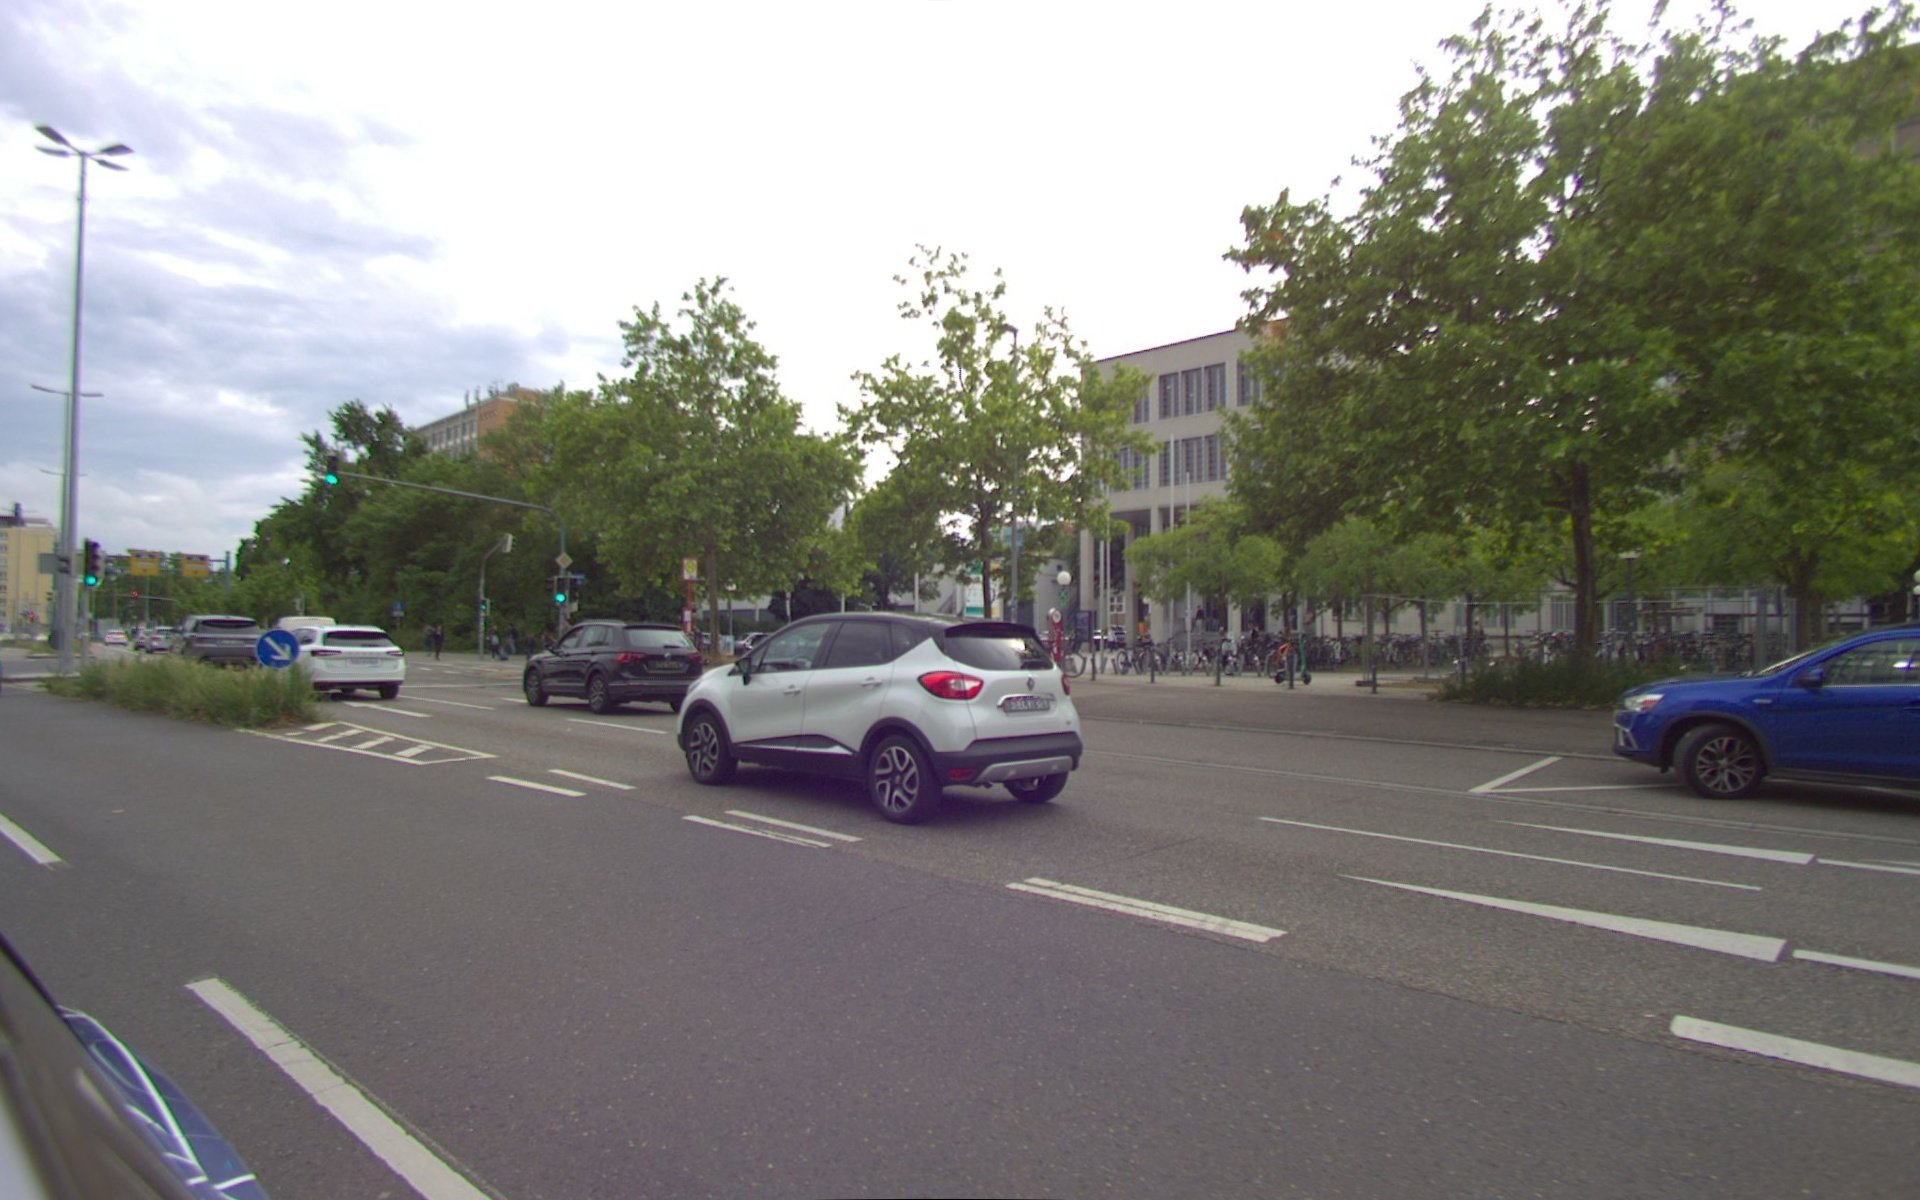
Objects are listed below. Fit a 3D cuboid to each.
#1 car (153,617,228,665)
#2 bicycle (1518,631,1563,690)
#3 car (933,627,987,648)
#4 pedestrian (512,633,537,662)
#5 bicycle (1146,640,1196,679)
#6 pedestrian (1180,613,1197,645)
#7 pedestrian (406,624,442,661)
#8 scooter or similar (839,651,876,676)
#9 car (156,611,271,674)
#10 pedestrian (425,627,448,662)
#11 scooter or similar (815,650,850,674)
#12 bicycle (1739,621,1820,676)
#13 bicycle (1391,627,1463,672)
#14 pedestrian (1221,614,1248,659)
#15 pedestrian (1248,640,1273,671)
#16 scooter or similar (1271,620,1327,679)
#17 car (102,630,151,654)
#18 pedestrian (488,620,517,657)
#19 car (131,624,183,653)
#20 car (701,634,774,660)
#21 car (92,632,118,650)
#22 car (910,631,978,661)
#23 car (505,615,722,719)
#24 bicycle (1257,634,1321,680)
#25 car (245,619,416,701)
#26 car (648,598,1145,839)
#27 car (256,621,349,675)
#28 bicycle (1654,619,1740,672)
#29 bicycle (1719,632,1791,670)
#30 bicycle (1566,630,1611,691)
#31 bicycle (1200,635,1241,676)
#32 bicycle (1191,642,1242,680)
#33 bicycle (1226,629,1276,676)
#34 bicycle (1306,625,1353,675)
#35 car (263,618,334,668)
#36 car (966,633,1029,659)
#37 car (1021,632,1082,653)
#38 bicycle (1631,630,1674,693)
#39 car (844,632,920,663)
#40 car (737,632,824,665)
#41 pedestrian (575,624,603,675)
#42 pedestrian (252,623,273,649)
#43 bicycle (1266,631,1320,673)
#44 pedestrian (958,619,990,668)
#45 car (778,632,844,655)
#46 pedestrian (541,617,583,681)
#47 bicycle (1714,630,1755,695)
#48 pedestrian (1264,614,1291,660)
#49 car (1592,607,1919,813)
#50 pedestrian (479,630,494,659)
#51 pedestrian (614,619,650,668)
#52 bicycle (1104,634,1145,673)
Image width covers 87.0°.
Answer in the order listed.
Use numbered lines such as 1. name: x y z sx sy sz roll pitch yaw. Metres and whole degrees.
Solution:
1. car: -33.711 1.789 44.314 4.001 2.029 1.971 -2 -3 44
2. bicycle: 16.555 1.690 28.834 0.721 1.606 2.375 -2 -3 40
3. car: 0.027 2.859 77.387 3.941 1.552 2.001 2 -3 -45
4. pedestrian: -22.380 2.420 52.015 0.991 1.439 0.697 -1 -1 16
5. bicycle: 7.658 2.143 36.651 0.721 1.364 2.459 -2 -3 40
6. pedestrian: 14.756 1.873 65.345 0.943 2.029 0.788 -1 -3 27
7. pedestrian: -29.504 2.337 55.764 1.344 2.029 1.174 -2 -1 24
8. scooter or similar: -3.101 1.913 30.557 0.402 0.699 1.290 0 -1 -43
9. car: -22.089 1.233 29.865 4.949 1.700 1.971 -2 -2 44
10. pedestrian: -26.688 2.271 51.611 0.583 1.707 0.653 16 -13 -42
11. scooter or similar: -4.008 1.949 31.888 0.402 0.699 1.290 0 -1 -43
12. bicycle: 24.300 1.422 29.991 2.621 1.571 0.925 1 -2 -29
13. bicycle: 16.599 1.742 35.974 2.621 1.571 0.925 1 -2 -29
14. pedestrian: 12.539 1.668 46.210 0.781 2.029 0.992 1 -2 -18
15. pedestrian: 14.456 2.654 48.620 0.883 1.429 0.797 2 -3 -39
16. scooter or similar: 7.426 1.068 22.128 0.566 1.253 1.557 -2 -3 43
17. car: -55.059 2.744 66.844 4.275 1.541 1.971 -2 -3 44
18. pedestrian: -25.828 2.179 57.105 1.089 2.029 1.037 -1 -1 13
19. car: -45.834 2.190 57.766 1.934 1.596 4.259 2 -3 -43
20. car: -13.721 2.874 62.441 2.001 1.402 3.942 -2 -1 44
21. car: -89.648 4.278 106.092 1.866 1.786 4.003 0 -1 -44
22. car: -0.926 2.725 60.083 1.853 1.696 3.944 -2 -3 42
23. car: -6.527 1.172 18.819 4.469 1.707 1.971 -2 -3 44
24. bicycle: 8.992 1.534 27.596 0.721 1.183 2.718 -2 -3 40
25. car: -13.264 1.189 21.188 4.912 1.476 1.882 -2 -1 44
26. car: -0.722 0.861 8.750 4.181 1.559 1.971 -2 -4 44
27. car: -21.912 1.576 33.683 4.001 1.702 1.679 -2 -3 44
28. bicycle: 22.806 1.403 31.295 3.035 1.571 0.925 1 -2 -29
29. bicycle: 26.886 1.718 34.217 2.621 1.214 0.925 2 -3 -29
30. bicycle: 17.494 1.661 28.134 0.721 1.606 2.375 -2 -3 40
31. bicycle: 7.630 1.610 29.611 0.718 1.153 2.310 -1 -2 26
32. bicycle: 8.953 2.097 35.274 0.721 1.279 2.509 -2 -3 40
33. bicycle: 10.072 1.798 34.965 0.920 1.571 2.637 -1 -3 33
34. bicycle: 12.124 1.625 33.164 0.920 1.571 2.424 -1 -3 33
35. car: -26.696 1.691 40.776 1.750 1.862 4.494 0 -1 -41
36. car: 2.379 2.868 63.552 1.889 1.565 3.942 -2 -3 44
37. car: 6.087 2.827 66.963 2.008 1.371 3.942 -2 -3 44
38. bicycle: 18.490 1.626 26.992 0.721 1.606 2.375 -2 -3 40
39. car: -4.313 2.608 56.216 2.000 1.592 3.944 -2 -1 42
40. car: -9.019 2.405 51.111 1.998 1.483 3.947 -2 -1 40
41. pedestrian: -15.417 2.042 42.075 0.849 2.074 0.662 -1 -3 30
42. pedestrian: -45.963 2.358 66.684 0.814 1.637 0.976 -2 -1 45
43. bicycle: 11.087 1.715 33.631 0.721 1.339 2.789 -2 -3 39
44. pedestrian: 0.596 1.839 42.728 1.092 2.029 0.788 -1 -3 27
45. car: -9.859 2.851 67.135 2.001 1.402 3.942 -2 -1 44
46. pedestrian: -12.899 1.592 32.792 1.009 2.029 0.884 -2 -3 42
47. bicycle: 19.988 1.583 26.087 0.721 1.606 2.375 -2 -3 40
48. pedestrian: 14.141 1.634 45.077 0.883 2.029 0.797 2 -3 -39
49. car: 8.298 0.877 8.655 1.837 1.620 4.595 0 -1 -45
50. pedestrian: -26.757 2.496 57.196 0.600 1.619 0.498 -1 -3 33
51. pedestrian: -12.219 1.623 37.696 0.935 1.817 0.886 -2 -4 40
52. bicycle: 5.042 1.627 30.977 0.718 1.162 2.018 -1 -2 26
